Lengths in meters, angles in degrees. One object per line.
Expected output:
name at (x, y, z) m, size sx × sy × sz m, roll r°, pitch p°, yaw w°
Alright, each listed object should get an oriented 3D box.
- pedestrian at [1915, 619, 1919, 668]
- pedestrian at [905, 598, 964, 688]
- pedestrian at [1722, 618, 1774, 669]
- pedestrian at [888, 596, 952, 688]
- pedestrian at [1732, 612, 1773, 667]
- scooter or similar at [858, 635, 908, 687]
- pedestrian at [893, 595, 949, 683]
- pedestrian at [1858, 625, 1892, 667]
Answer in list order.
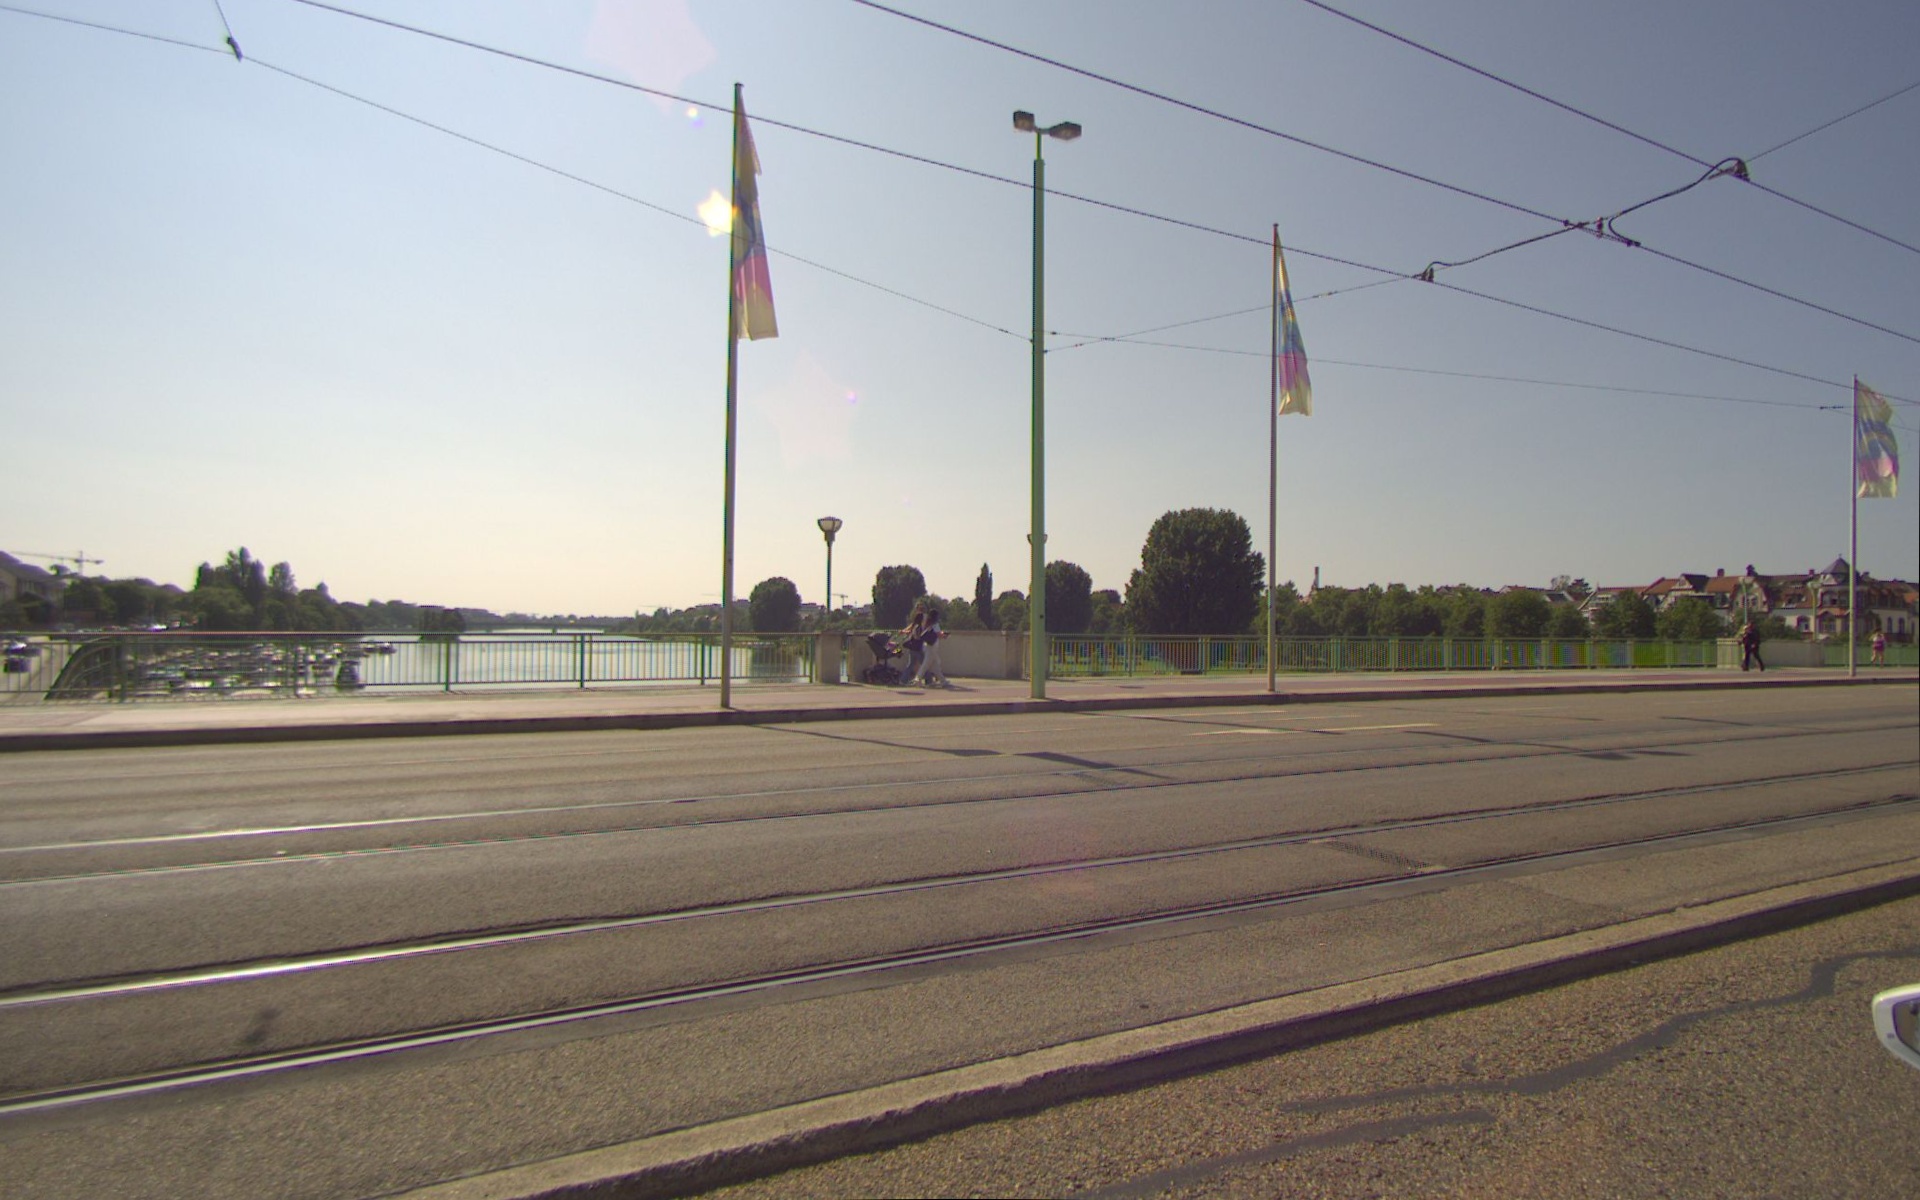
pedestrian at (41.232, 1.847, 42.514) m, size 1.089 × 2.040 × 0.963 m, roll 1°, pitch -1°, yaw -32°
pedestrian at (-0.541, 0.880, 21.011) m, size 0.946 × 1.808 × 0.735 m, roll 1°, pitch 2°, yaw -30°
pedestrian at (28.342, 1.549, 36.120) m, size 1.279 × 1.781 × 1.092 m, roll 1°, pitch -1°, yaw -30°
pedestrian at (-0.850, 0.876, 21.270) m, size 1.108 × 1.874 × 0.735 m, roll 1°, pitch 2°, yaw -30°
pedestrian at (29.989, 1.470, 38.006) m, size 1.029 × 2.040 × 0.894 m, roll 1°, pitch -1°, yaw -30°
scooter or similar at (-1.655, 1.297, 21.634) m, size 0.822 × 1.043 × 0.735 m, roll 1°, pitch 2°, yaw -29°
pedestrian at (-0.858, 0.843, 22.073) m, size 0.963 × 1.878 × 0.735 m, roll 1°, pitch 2°, yaw -30°
pedestrian at (38.963, 1.948, 42.787) m, size 1.161 × 1.745 × 0.751 m, roll 2°, pitch -1°, yaw -30°
